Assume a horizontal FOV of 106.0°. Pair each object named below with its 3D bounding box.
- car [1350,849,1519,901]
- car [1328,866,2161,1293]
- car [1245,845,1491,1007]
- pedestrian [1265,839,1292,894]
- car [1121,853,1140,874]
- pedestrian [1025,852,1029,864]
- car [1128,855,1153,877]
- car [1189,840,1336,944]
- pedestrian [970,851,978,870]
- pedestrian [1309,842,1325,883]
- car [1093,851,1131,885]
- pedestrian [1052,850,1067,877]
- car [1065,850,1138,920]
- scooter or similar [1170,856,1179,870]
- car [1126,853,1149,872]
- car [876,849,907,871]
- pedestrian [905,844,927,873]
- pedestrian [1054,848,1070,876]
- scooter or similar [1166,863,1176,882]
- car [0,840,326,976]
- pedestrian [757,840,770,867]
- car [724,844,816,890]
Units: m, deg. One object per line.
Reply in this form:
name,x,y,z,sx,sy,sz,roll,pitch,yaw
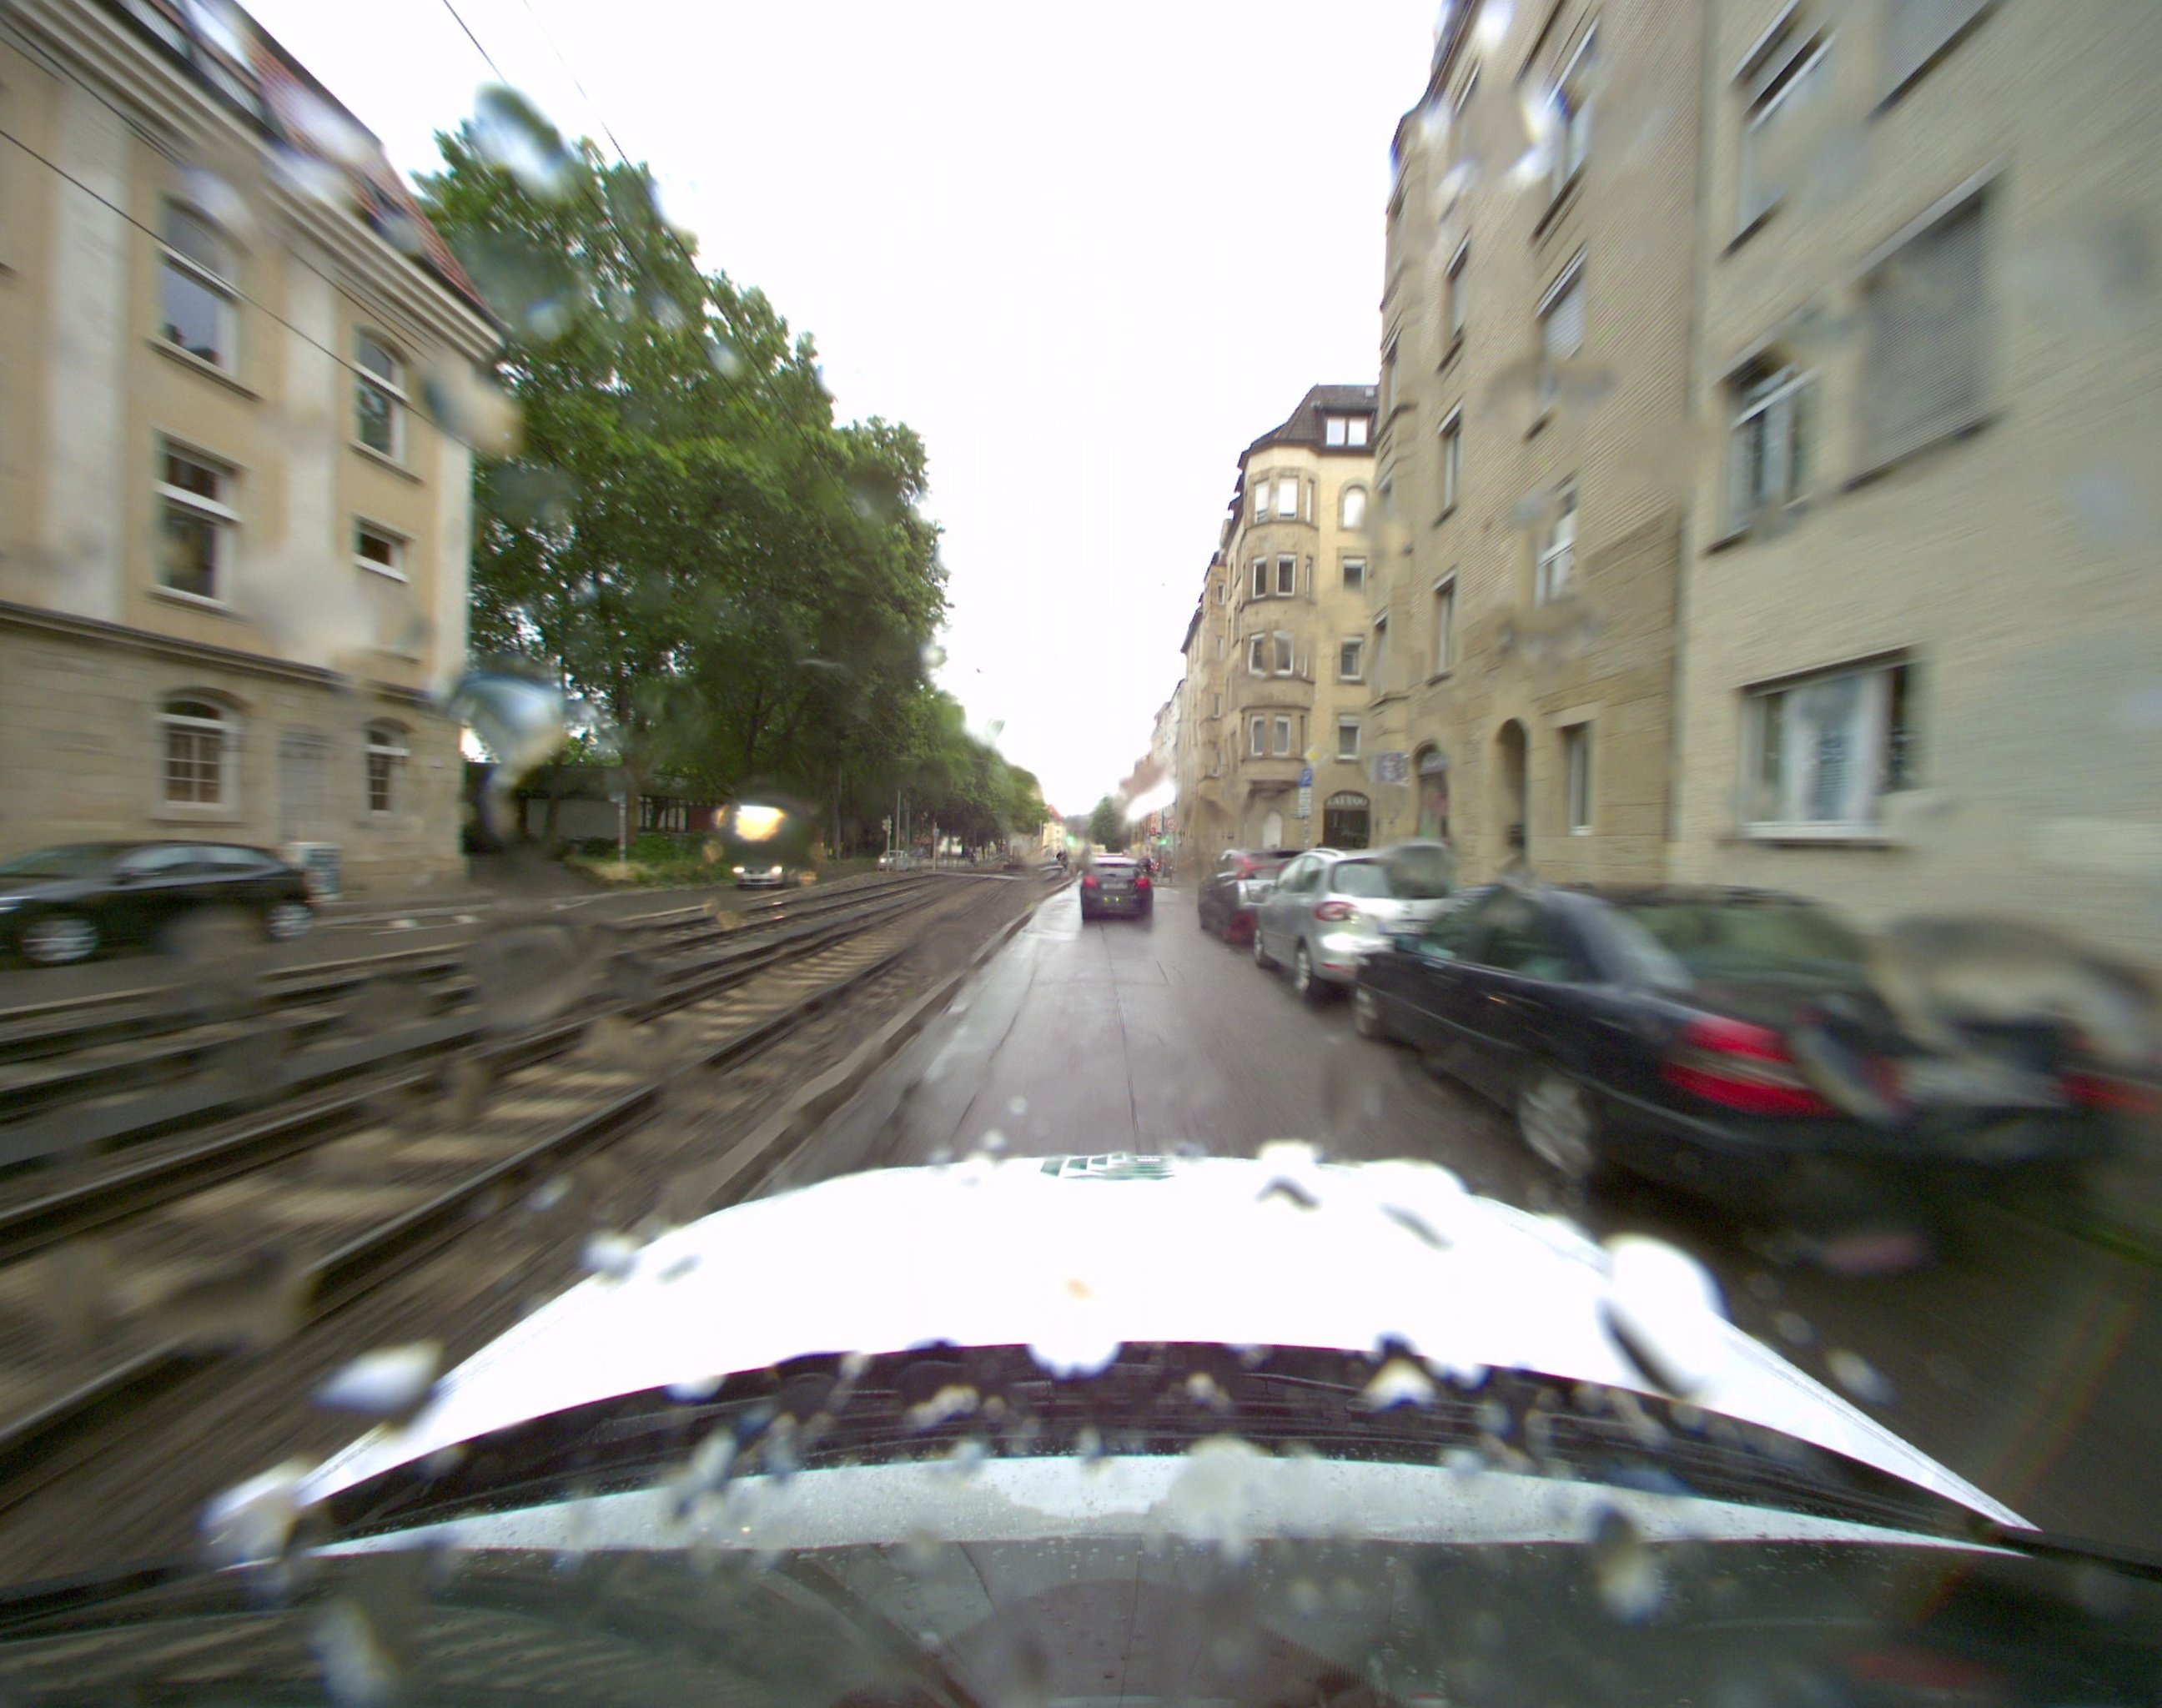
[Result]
car,10.828,0.616,25.190,4.430,1.484,1.866,-1,0,4
car,3.014,0.795,4.984,1.711,1.347,4.462,1,0,1
car,3.162,0.695,9.838,1.687,1.529,4.002,1,0,2
pedestrian,6.653,0.416,27.519,0.692,1.787,0.758,-1,0,0
car,5.061,0.974,84.116,1.753,2.013,4.001,-1,0,1
pedestrian,-8.171,0.580,122.911,0.516,1.717,0.551,2,0,2
car,4.670,0.890,64.150,1.820,1.618,3.866,-1,0,2
car,3.252,0.619,15.443,1.760,1.668,4.331,1,0,-1
pedestrian,-10.201,0.627,77.484,0.532,1.754,0.607,2,0,2
pedestrian,9.845,0.349,33.930,0.545,1.688,0.627,0,0,5
car,1.506,0.665,40.033,1.778,1.581,4.001,0,0,2
pedestrian,-1.293,0.556,49.147,0.803,1.633,0.892,-1,0,2
car,0.486,0.678,19.613,1.574,1.505,3.575,0,0,1
scooter or similar,8.613,0.817,74.779,0.448,1.321,1.774,-1,0,-6
car,4.774,0.690,68.823,1.753,1.579,4.001,-1,0,1
car,-13.573,0.411,58.441,1.656,1.497,3.779,1,0,-5
pedestrian,-10.023,0.259,49.543,1.050,1.718,0.905,1,0,3
pedestrian,-1.397,0.595,60.715,1.135,1.998,1.171,-1,0,-3
scooter or similar,6.636,1.348,60.021,0.447,1.321,1.777,-1,0,-1
car,-12.154,0.557,10.263,1.608,1.429,3.853,0,0,1
pedestrian,-19.239,-0.022,49.302,0.694,1.662,0.638,0,-1,-18
car,-11.095,0.432,29.403,1.814,1.505,4.627,1,0,-4
